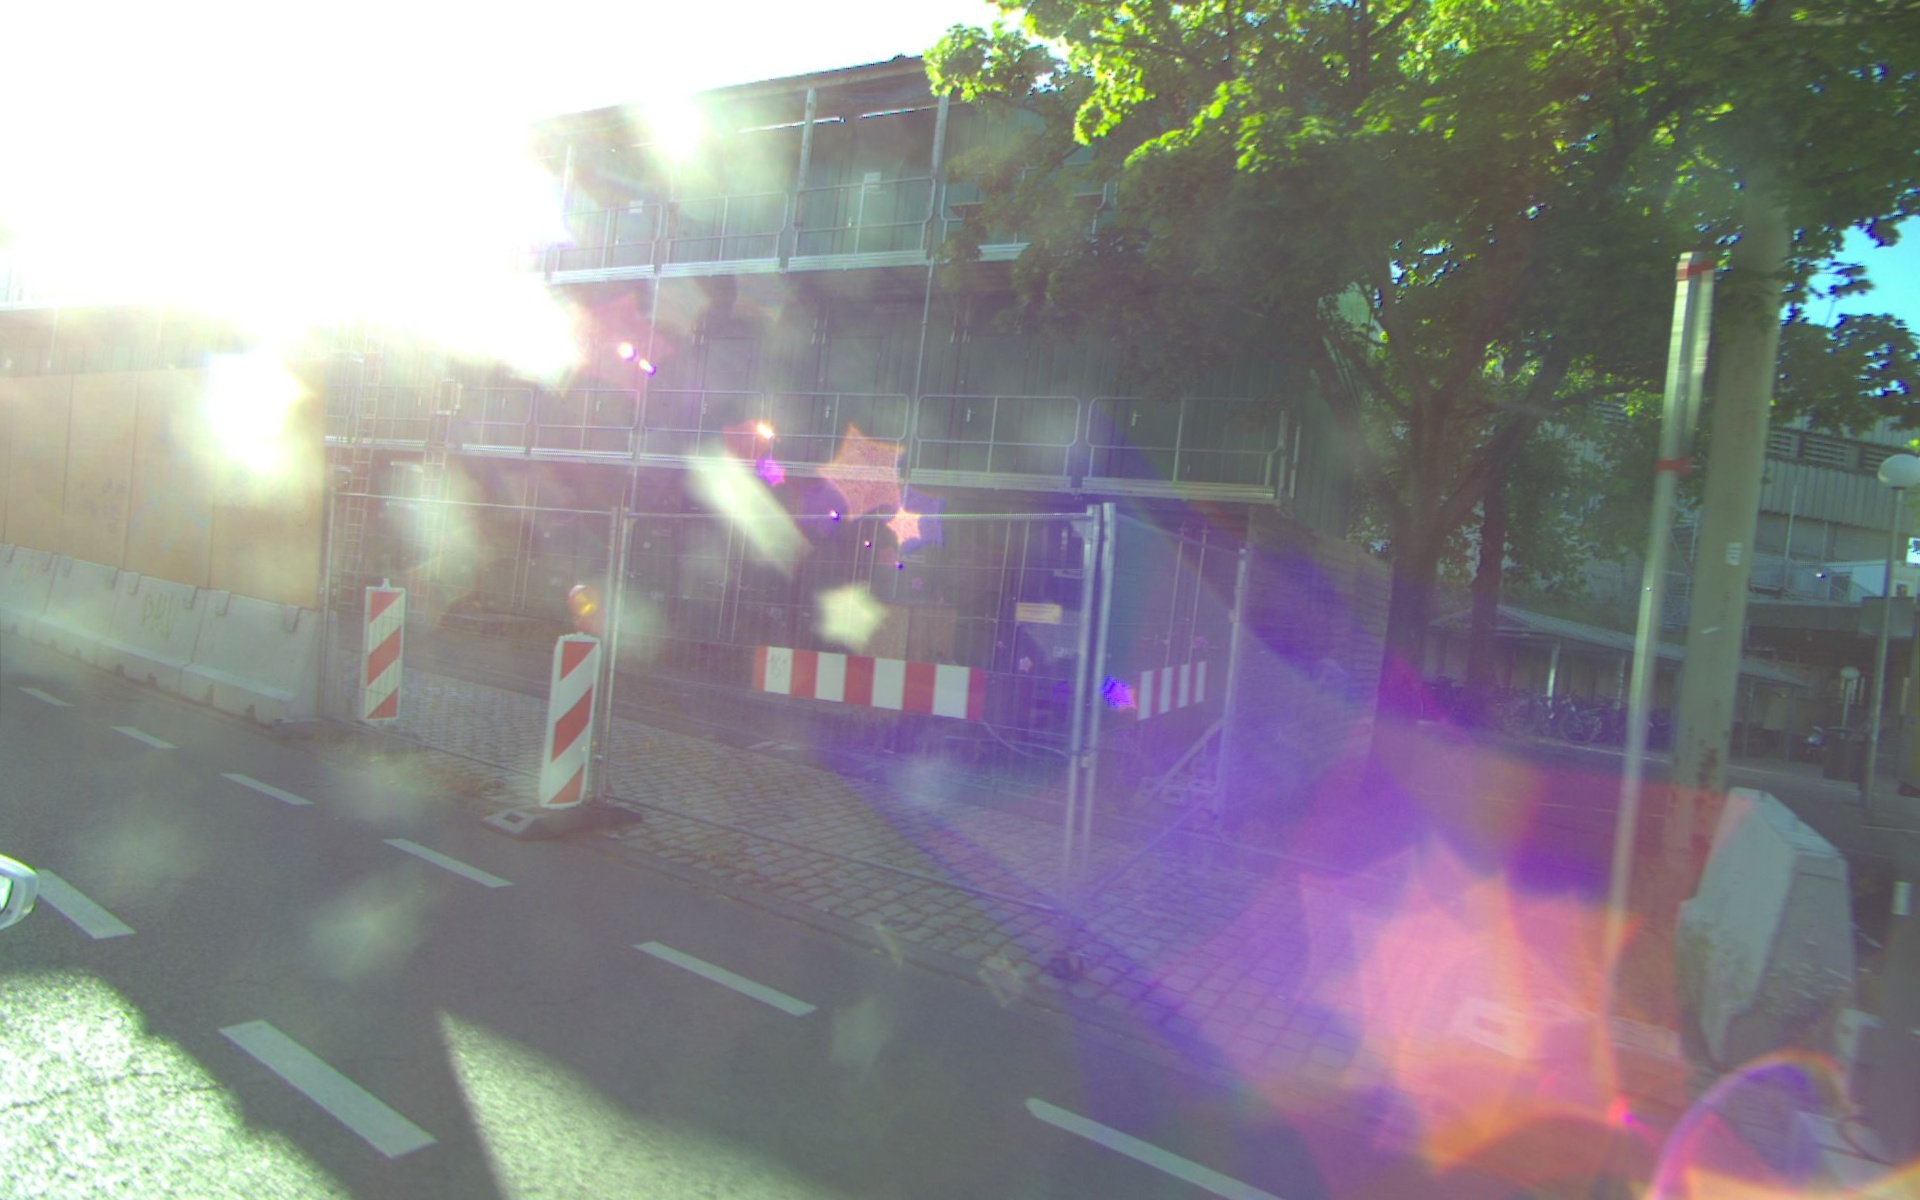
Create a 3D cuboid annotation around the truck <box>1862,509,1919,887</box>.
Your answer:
[{"bbox_3d":[8.606,0.724,6.651,2.332,3.459,7.085,6,-1,31],"label":"truck"}]
